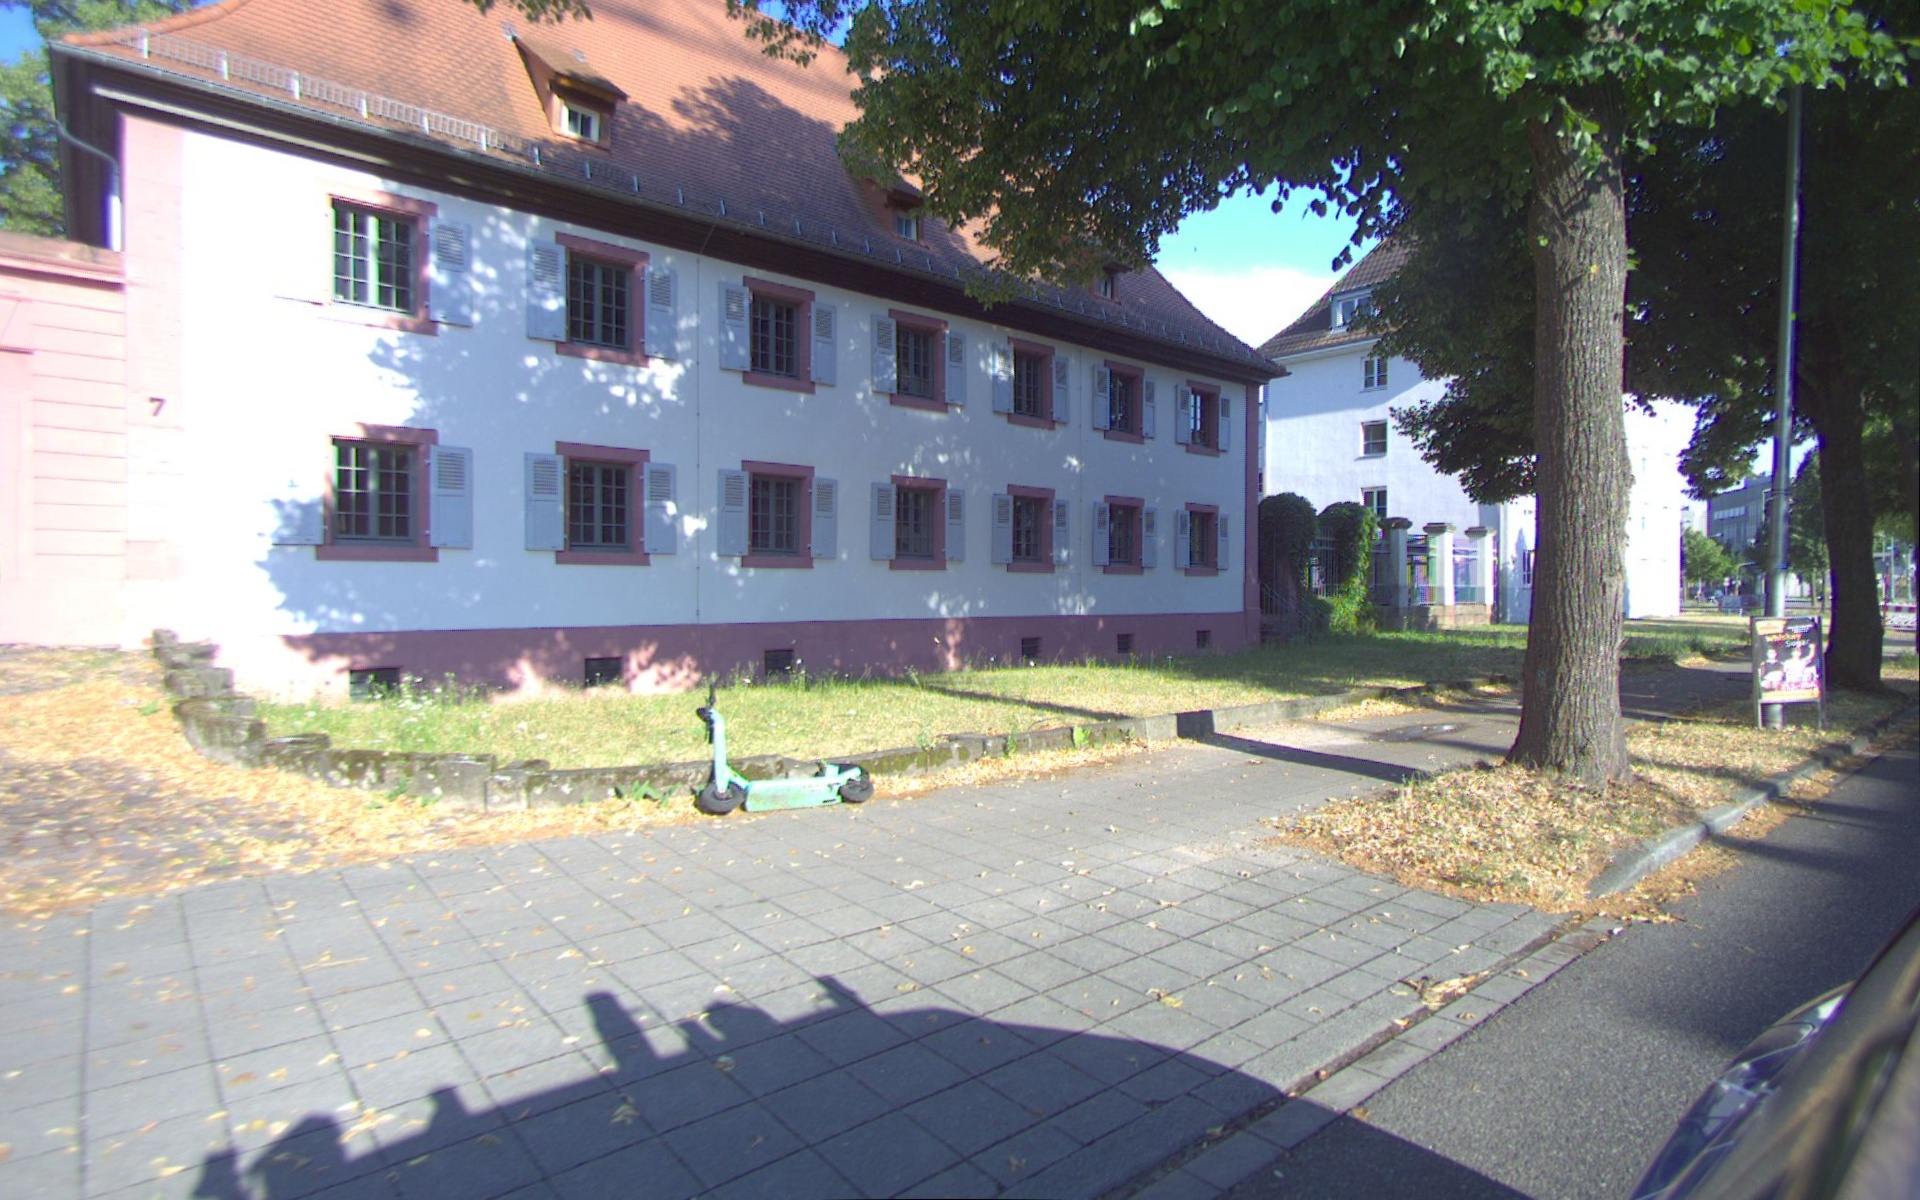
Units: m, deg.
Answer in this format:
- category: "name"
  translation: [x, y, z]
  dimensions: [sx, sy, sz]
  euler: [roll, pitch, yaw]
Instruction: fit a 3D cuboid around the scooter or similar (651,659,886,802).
- category: "scooter or similar"
  translation: [-1.293, 0.813, 6.735]
  dimensions: [1.045, 0.554, 1.229]
  euler: [-1, 9, -41]
